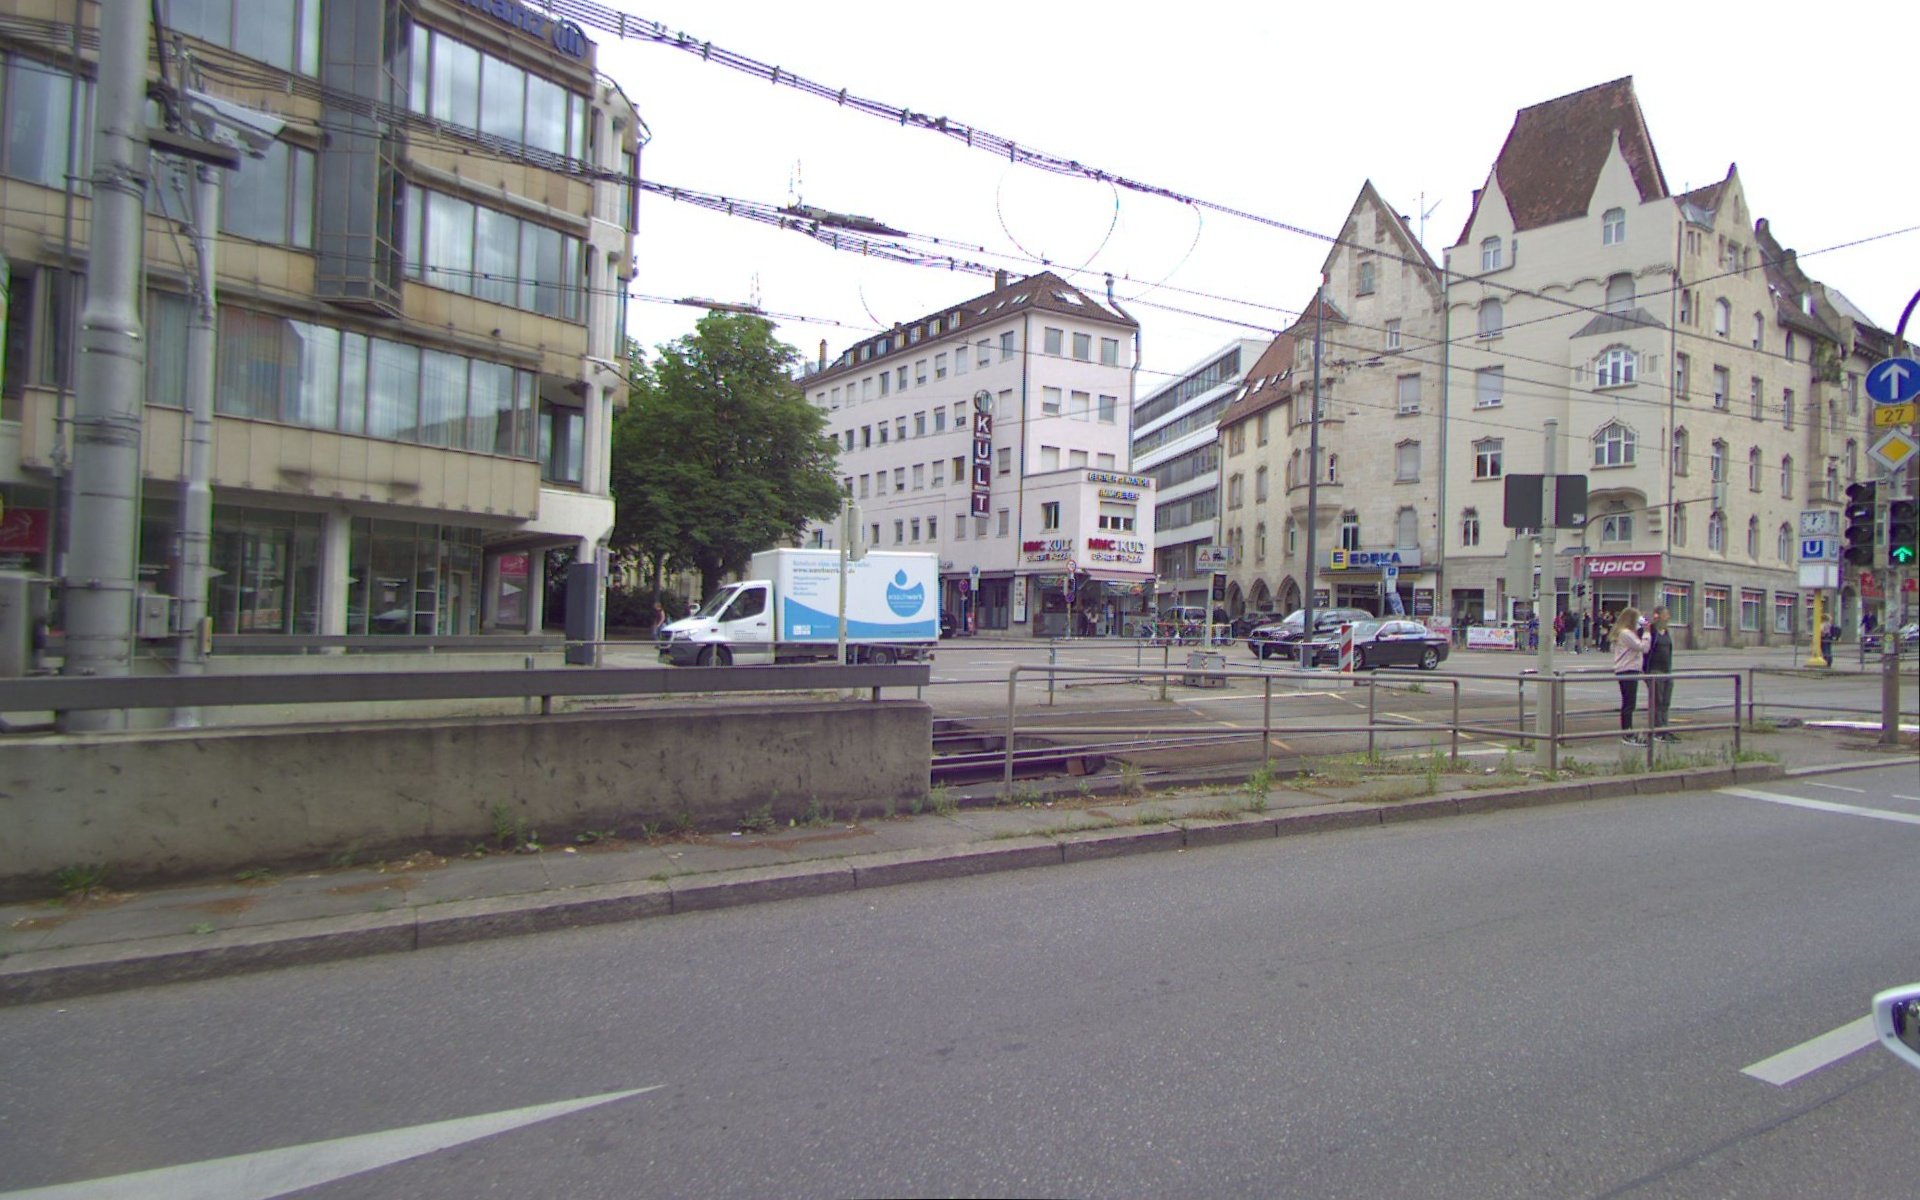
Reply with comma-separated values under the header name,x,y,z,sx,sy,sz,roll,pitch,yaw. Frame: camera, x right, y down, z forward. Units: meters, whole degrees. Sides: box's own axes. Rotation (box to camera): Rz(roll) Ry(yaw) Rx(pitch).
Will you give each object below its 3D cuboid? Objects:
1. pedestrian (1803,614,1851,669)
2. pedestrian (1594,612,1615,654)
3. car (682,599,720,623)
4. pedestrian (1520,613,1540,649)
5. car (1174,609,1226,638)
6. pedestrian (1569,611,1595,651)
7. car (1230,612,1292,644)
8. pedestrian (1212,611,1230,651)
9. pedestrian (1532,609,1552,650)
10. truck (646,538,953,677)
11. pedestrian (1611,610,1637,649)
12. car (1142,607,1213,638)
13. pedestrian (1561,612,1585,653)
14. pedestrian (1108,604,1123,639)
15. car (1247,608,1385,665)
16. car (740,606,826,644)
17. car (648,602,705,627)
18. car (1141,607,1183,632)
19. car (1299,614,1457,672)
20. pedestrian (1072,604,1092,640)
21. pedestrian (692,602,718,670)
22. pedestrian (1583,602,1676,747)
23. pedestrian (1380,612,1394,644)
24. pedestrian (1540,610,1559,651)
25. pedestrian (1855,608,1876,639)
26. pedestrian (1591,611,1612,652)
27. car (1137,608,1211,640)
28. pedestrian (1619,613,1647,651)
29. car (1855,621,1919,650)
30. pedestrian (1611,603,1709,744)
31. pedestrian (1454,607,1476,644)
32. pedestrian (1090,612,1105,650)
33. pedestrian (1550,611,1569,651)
name,x,y,z,sx,sy,sz,roll,pitch,yaw
pedestrian,27.755,1.317,32.166,0.796,1.728,0.877,1,0,0
pedestrian,27.890,1.442,43.451,0.567,1.803,0.510,1,0,-15
car,-19.684,0.810,76.343,1.633,1.734,3.615,1,-1,-34
pedestrian,25.366,1.369,44.696,0.505,1.603,0.573,1,0,-27
car,15.113,1.534,63.372,1.609,1.768,3.773,1,-2,-14
pedestrian,28.137,1.405,45.454,0.654,1.803,0.791,1,0,2
car,16.851,1.585,56.390,1.609,1.706,3.773,1,-2,-14
pedestrian,11.908,1.411,45.862,0.567,1.803,0.509,1,0,-17
pedestrian,26.001,1.311,44.852,0.504,1.803,0.573,1,0,-24
truck,-3.906,0.243,25.316,7.287,3.117,2.256,2,0,-30
pedestrian,29.313,1.318,44.369,0.679,1.699,0.674,1,0,-11
car,12.046,1.234,56.012,1.728,1.581,4.493,2,0,-20
pedestrian,26.814,1.415,43.947,0.585,1.803,0.710,1,0,-13
pedestrian,7.965,1.098,51.381,0.589,1.803,0.509,1,0,-17
car,12.093,1.234,34.040,4.724,1.782,1.666,2,0,-29
car,-8.070,1.107,45.598,1.938,1.550,3.948,1,0,-44
car,-20.244,1.010,71.660,4.430,1.734,1.914,0,-1,43
car,15.014,1.469,74.750,1.609,1.768,3.773,1,-2,-14
car,12.165,1.241,29.213,4.472,1.573,1.652,1,0,-24
pedestrian,5.986,1.060,49.158,0.644,1.728,0.780,1,0,-23
pedestrian,-6.854,0.964,27.021,0.569,1.803,0.508,1,0,-27
pedestrian,8.383,0.905,12.596,0.630,1.744,0.761,1,0,-29
pedestrian,24.339,1.606,57.259,0.508,1.803,0.569,1,0,-43
pedestrian,26.504,1.373,45.152,0.568,1.803,0.509,1,0,-23
pedestrian,51.581,1.328,57.224,0.616,1.786,0.847,1,0,18
pedestrian,28.585,1.418,44.758,0.565,1.803,0.511,1,0,2
car,11.850,1.311,55.900,1.730,1.581,4.488,2,0,-23
pedestrian,30.511,1.451,45.526,0.713,1.728,0.780,1,0,-23
car,46.738,1.773,50.247,3.732,1.393,1.627,1,-2,-25
pedestrian,9.026,0.922,12.963,0.763,1.744,0.788,1,0,-29
pedestrian,25.218,1.262,50.135,0.807,1.803,0.574,1,0,-19
pedestrian,6.714,1.509,49.068,0.567,1.803,0.509,1,0,-17
pedestrian,27.115,1.387,45.404,0.569,1.803,0.508,1,0,-27
